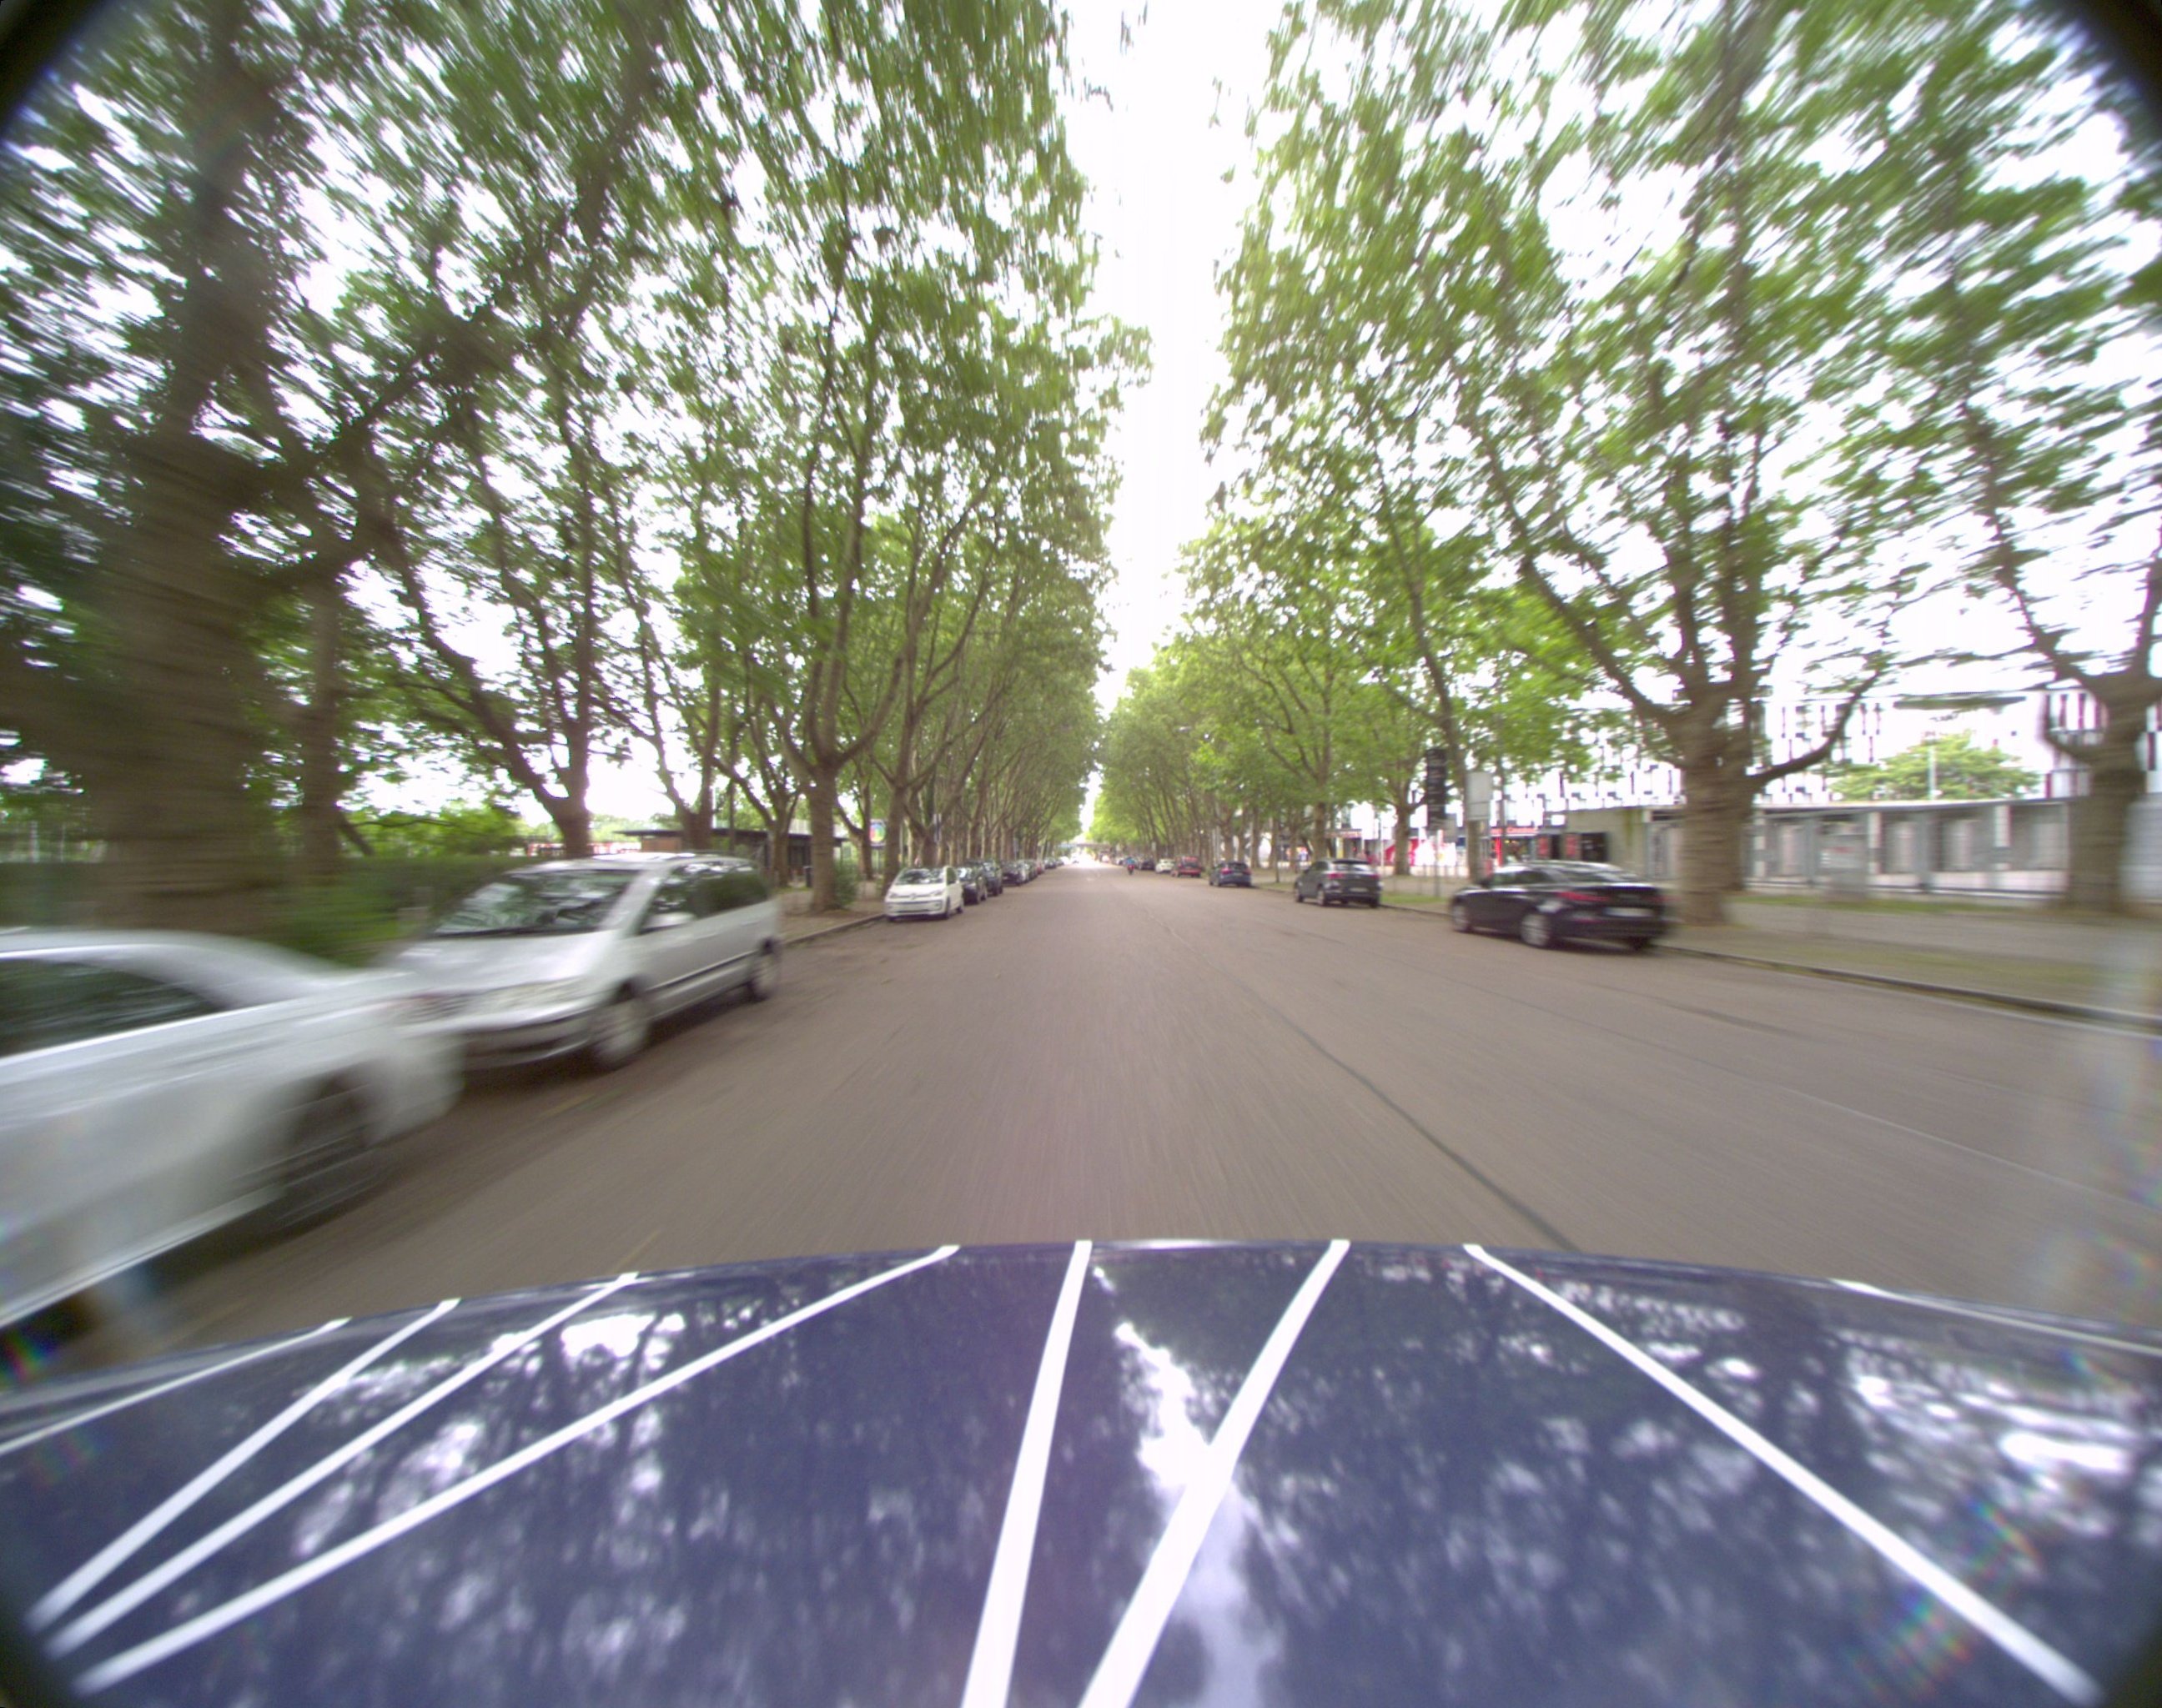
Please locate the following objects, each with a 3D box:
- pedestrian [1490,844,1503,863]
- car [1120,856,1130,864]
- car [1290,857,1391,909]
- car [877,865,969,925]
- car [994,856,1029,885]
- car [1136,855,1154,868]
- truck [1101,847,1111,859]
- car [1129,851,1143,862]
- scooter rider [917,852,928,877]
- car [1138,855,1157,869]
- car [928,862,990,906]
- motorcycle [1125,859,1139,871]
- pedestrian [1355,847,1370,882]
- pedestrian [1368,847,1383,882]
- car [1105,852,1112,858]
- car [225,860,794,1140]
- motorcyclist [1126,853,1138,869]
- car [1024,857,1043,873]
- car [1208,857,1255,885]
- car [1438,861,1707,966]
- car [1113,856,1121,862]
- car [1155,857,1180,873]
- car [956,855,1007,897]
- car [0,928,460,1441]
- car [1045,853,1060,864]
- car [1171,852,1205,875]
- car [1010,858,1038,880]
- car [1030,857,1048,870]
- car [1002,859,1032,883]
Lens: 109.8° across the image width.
[{"bbox_3d":[37.322,-0.079,68.265,0.726,1.681,0.808,-1,0,3],"label":"pedestrian"},{"bbox_3d":[8.197,1.111,142.333,1.822,1.584,4.345,2,0,2],"label":"car"},{"bbox_3d":[8.306,0.879,24.699,1.883,1.518,4.151,0,0,0],"label":"car"},{"bbox_3d":[-4.352,1.070,21.477,1.712,1.419,3.889,-2,0,0],"label":"car"},{"bbox_3d":[-4.278,0.978,47.095,1.782,1.663,4.637,-1,0,-1],"label":"car"},{"bbox_3d":[8.228,0.960,97.654,1.942,1.633,4.928,2,0,1],"label":"car"},{"bbox_3d":[7.979,-0.486,247.949,2.917,3.846,9.466,1,0,0],"label":"truck"},{"bbox_3d":[9.222,0.467,127.627,1.900,1.785,4.612,2,0,-1],"label":"car"},{"bbox_3d":[-11.571,0.765,55.510,0.678,1.789,0.587,1,0,0],"label":"scooter rider"},{"bbox_3d":[8.031,0.949,92.099,1.838,1.485,4.442,2,0,0],"label":"car"},{"bbox_3d":[-4.461,1.055,28.326,1.712,1.407,4.360,-2,0,-2],"label":"car"},{"bbox_3d":[4.578,0.972,68.202,0.875,1.073,3.052,-1,0,-3],"label":"motorcycle"},{"bbox_3d":[14.191,0.520,38.302,0.577,1.759,0.768,-1,1,15],"label":"pedestrian"},{"bbox_3d":[14.828,0.503,38.260,0.575,1.732,0.768,-1,1,15],"label":"pedestrian"},{"bbox_3d":[8.339,0.396,233.590,2.064,1.950,5.466,0,0,1],"label":"car"},{"bbox_3d":[-4.528,0.957,7.152,1.908,1.728,4.506,-1,0,0],"label":"car"},{"bbox_3d":[4.562,0.619,68.140,0.872,1.471,1.264,-1,0,-4],"label":"motorcyclist"},{"bbox_3d":[-4.704,1.035,75.198,1.721,1.430,4.627,-3,0,-4],"label":"car"},{"bbox_3d":[8.325,0.918,42.456,1.729,1.477,4.574,-1,0,0],"label":"car"},{"bbox_3d":[8.186,0.874,13.304,1.831,1.457,4.627,0,0,2],"label":"car"},{"bbox_3d":[8.229,1.124,175.061,1.698,1.354,4.001,4,0,2],"label":"car"},{"bbox_3d":[8.403,1.056,74.217,1.909,1.394,4.751,2,0,0],"label":"car"},{"bbox_3d":[-4.379,0.912,34.075,1.712,1.688,4.630,-3,0,-2],"label":"car"},{"bbox_3d":[-4.295,1.128,1.804,1.882,1.419,4.585,-1,0,-1],"label":"car"},{"bbox_3d":[-4.241,0.667,112.893,1.999,1.469,4.371,-2,0,0],"label":"car"},{"bbox_3d":[8.412,0.697,60.204,1.954,1.740,4.638,1,0,-1],"label":"car"},{"bbox_3d":[-4.312,1.114,57.868,1.672,1.500,4.353,-3,0,0],"label":"car"},{"bbox_3d":[-4.716,1.043,85.384,1.739,1.430,4.122,-1,0,0],"label":"car"},{"bbox_3d":[-4.367,1.142,52.371,1.620,1.433,3.710,-3,0,1],"label":"car"}]
